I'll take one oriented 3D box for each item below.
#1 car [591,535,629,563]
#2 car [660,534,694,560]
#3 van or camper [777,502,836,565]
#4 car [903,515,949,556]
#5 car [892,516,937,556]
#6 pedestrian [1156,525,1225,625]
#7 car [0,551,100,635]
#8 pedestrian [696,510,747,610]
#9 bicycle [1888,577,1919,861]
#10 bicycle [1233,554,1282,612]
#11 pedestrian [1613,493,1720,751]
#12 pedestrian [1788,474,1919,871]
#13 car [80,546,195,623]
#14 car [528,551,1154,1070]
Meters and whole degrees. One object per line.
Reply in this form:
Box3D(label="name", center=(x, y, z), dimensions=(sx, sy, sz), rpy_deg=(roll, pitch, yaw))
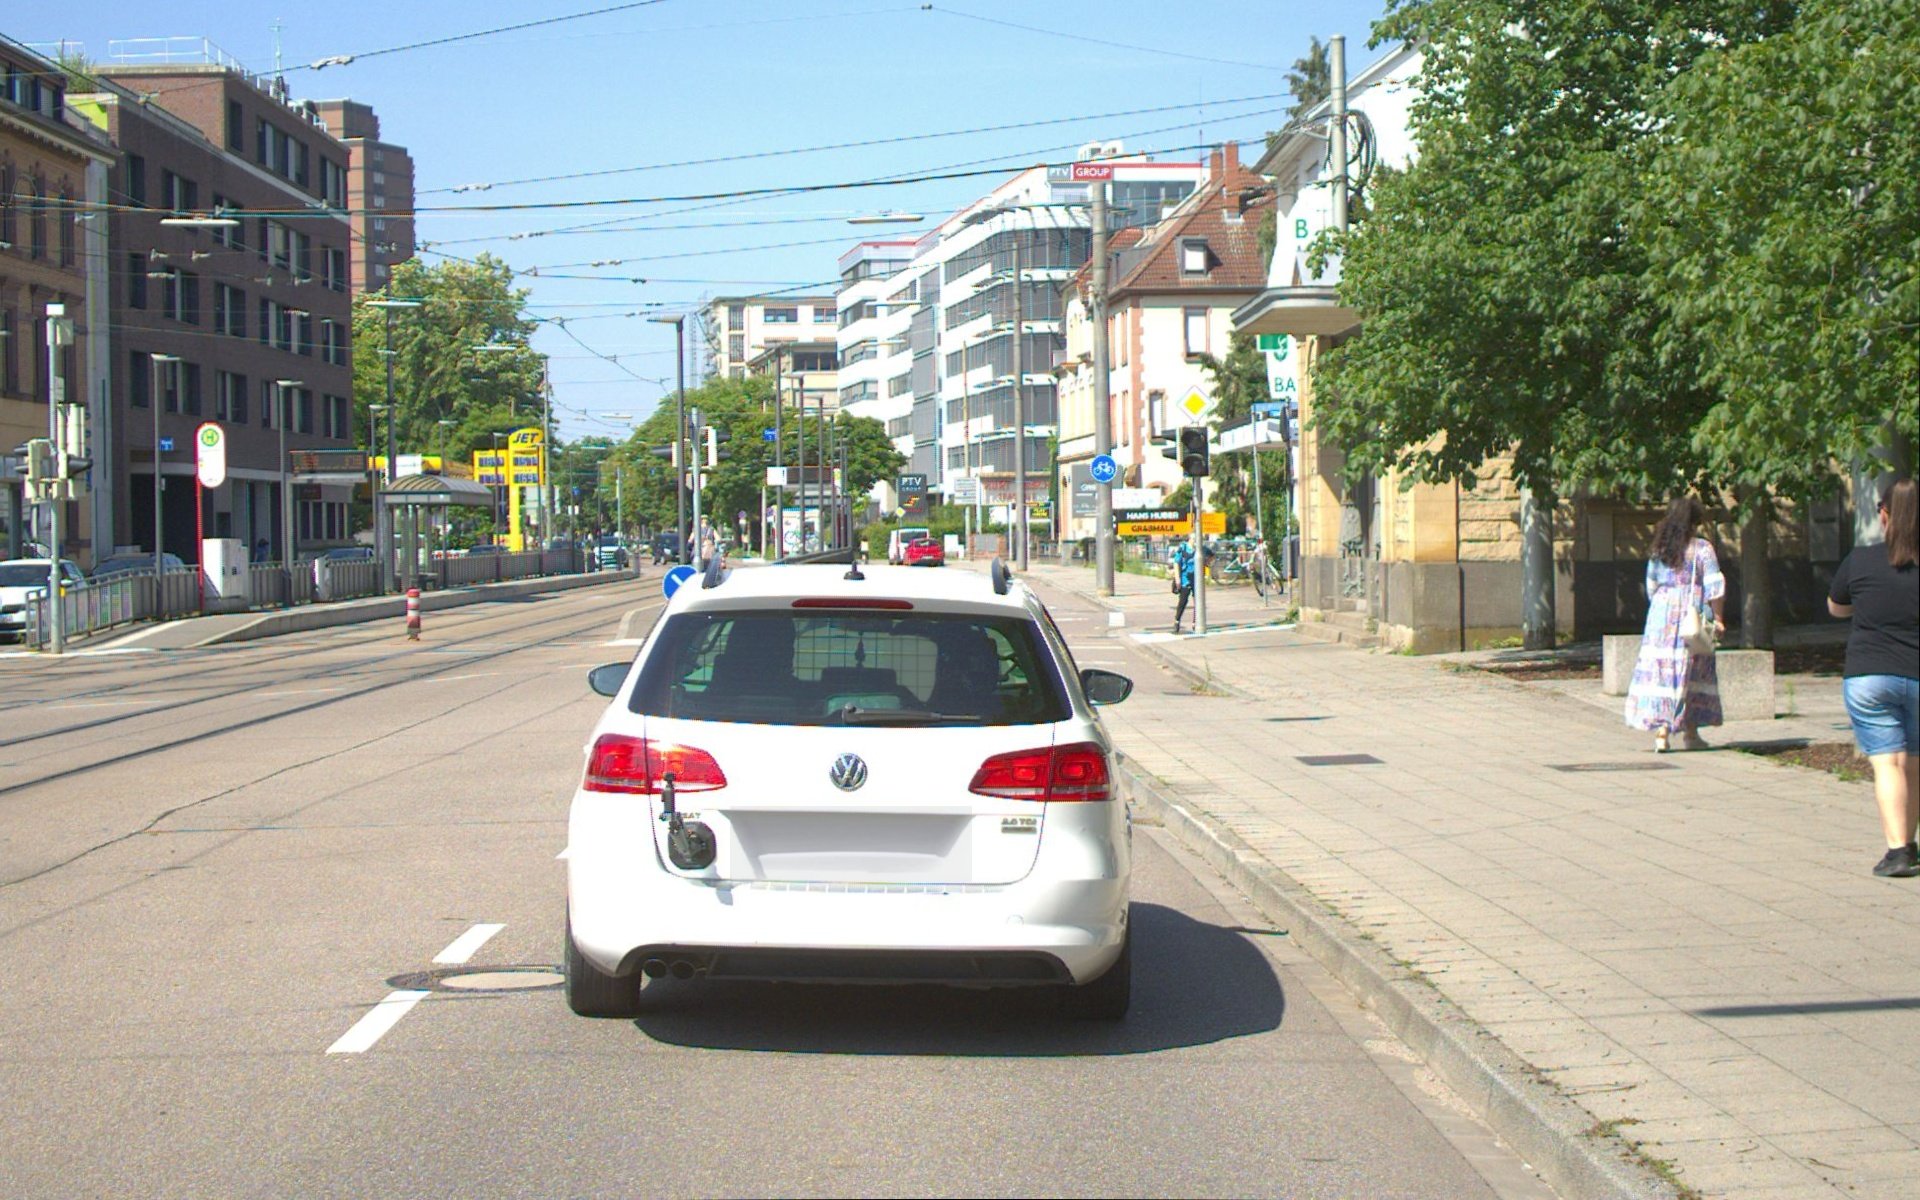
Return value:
Box3D(label="car", center=(-18.981, -2.761, 186.398), dimensions=(1.667, 1.461, 3.773), rpy_deg=(-1, 1, -1))
Box3D(label="car", center=(-16.202, -3.037, 197.049), dimensions=(1.667, 1.461, 3.773), rpy_deg=(-1, 1, -1))
Box3D(label="van or camper", center=(-8.048, -3.515, 180.972), dimensions=(2.943, 3.169, 6.614), rpy_deg=(-1, 1, -1))
Box3D(label="car", center=(-1.736, -3.241, 172.839), dimensions=(1.993, 2.007, 4.001), rpy_deg=(-1, 1, -5))
Box3D(label="car", center=(-2.377, -3.337, 178.266), dimensions=(1.993, 2.007, 4.001), rpy_deg=(-1, 1, -5))
Box3D(label="pedestrian", center=(3.501, -0.385, 52.232), dimensions=(0.855, 1.505, 0.782), rpy_deg=(-1, 1, -11))
Box3D(label="car", center=(-16.500, -0.153, 60.972), dimensions=(1.625, 1.426, 3.963), rpy_deg=(0, 1, -2))
Box3D(label="pedestrian", center=(-4.341, -0.737, 62.657), dimensions=(0.826, 1.803, 0.833), rpy_deg=(-1, 1, 0))
Box3D(label="bicycle", center=(4.052, 0.468, 13.595), dimensions=(0.536, 1.107, 1.806), rpy_deg=(-2, 1, 9))
Box3D(label="bicycle", center=(6.145, -0.362, 70.909), dimensions=(0.726, 1.135, 2.193), rpy_deg=(-1, 1, 12))
Box3D(label="pedestrian", center=(4.685, 0.136, 22.813), dimensions=(0.650, 1.676, 0.707), rpy_deg=(-1, 1, 10))
Box3D(label="pedestrian", center=(3.724, 0.275, 13.841), dimensions=(0.540, 1.543, 0.663), rpy_deg=(-3, 1, -1))
Box3D(label="car", center=(-16.413, -0.328, 68.725), dimensions=(1.572, 1.454, 3.815), rpy_deg=(-1, 1, -4))
Box3D(label="car", center=(-0.339, 0.573, 11.701), dimensions=(1.753, 1.413, 3.853), rpy_deg=(-1, 1, 0))
